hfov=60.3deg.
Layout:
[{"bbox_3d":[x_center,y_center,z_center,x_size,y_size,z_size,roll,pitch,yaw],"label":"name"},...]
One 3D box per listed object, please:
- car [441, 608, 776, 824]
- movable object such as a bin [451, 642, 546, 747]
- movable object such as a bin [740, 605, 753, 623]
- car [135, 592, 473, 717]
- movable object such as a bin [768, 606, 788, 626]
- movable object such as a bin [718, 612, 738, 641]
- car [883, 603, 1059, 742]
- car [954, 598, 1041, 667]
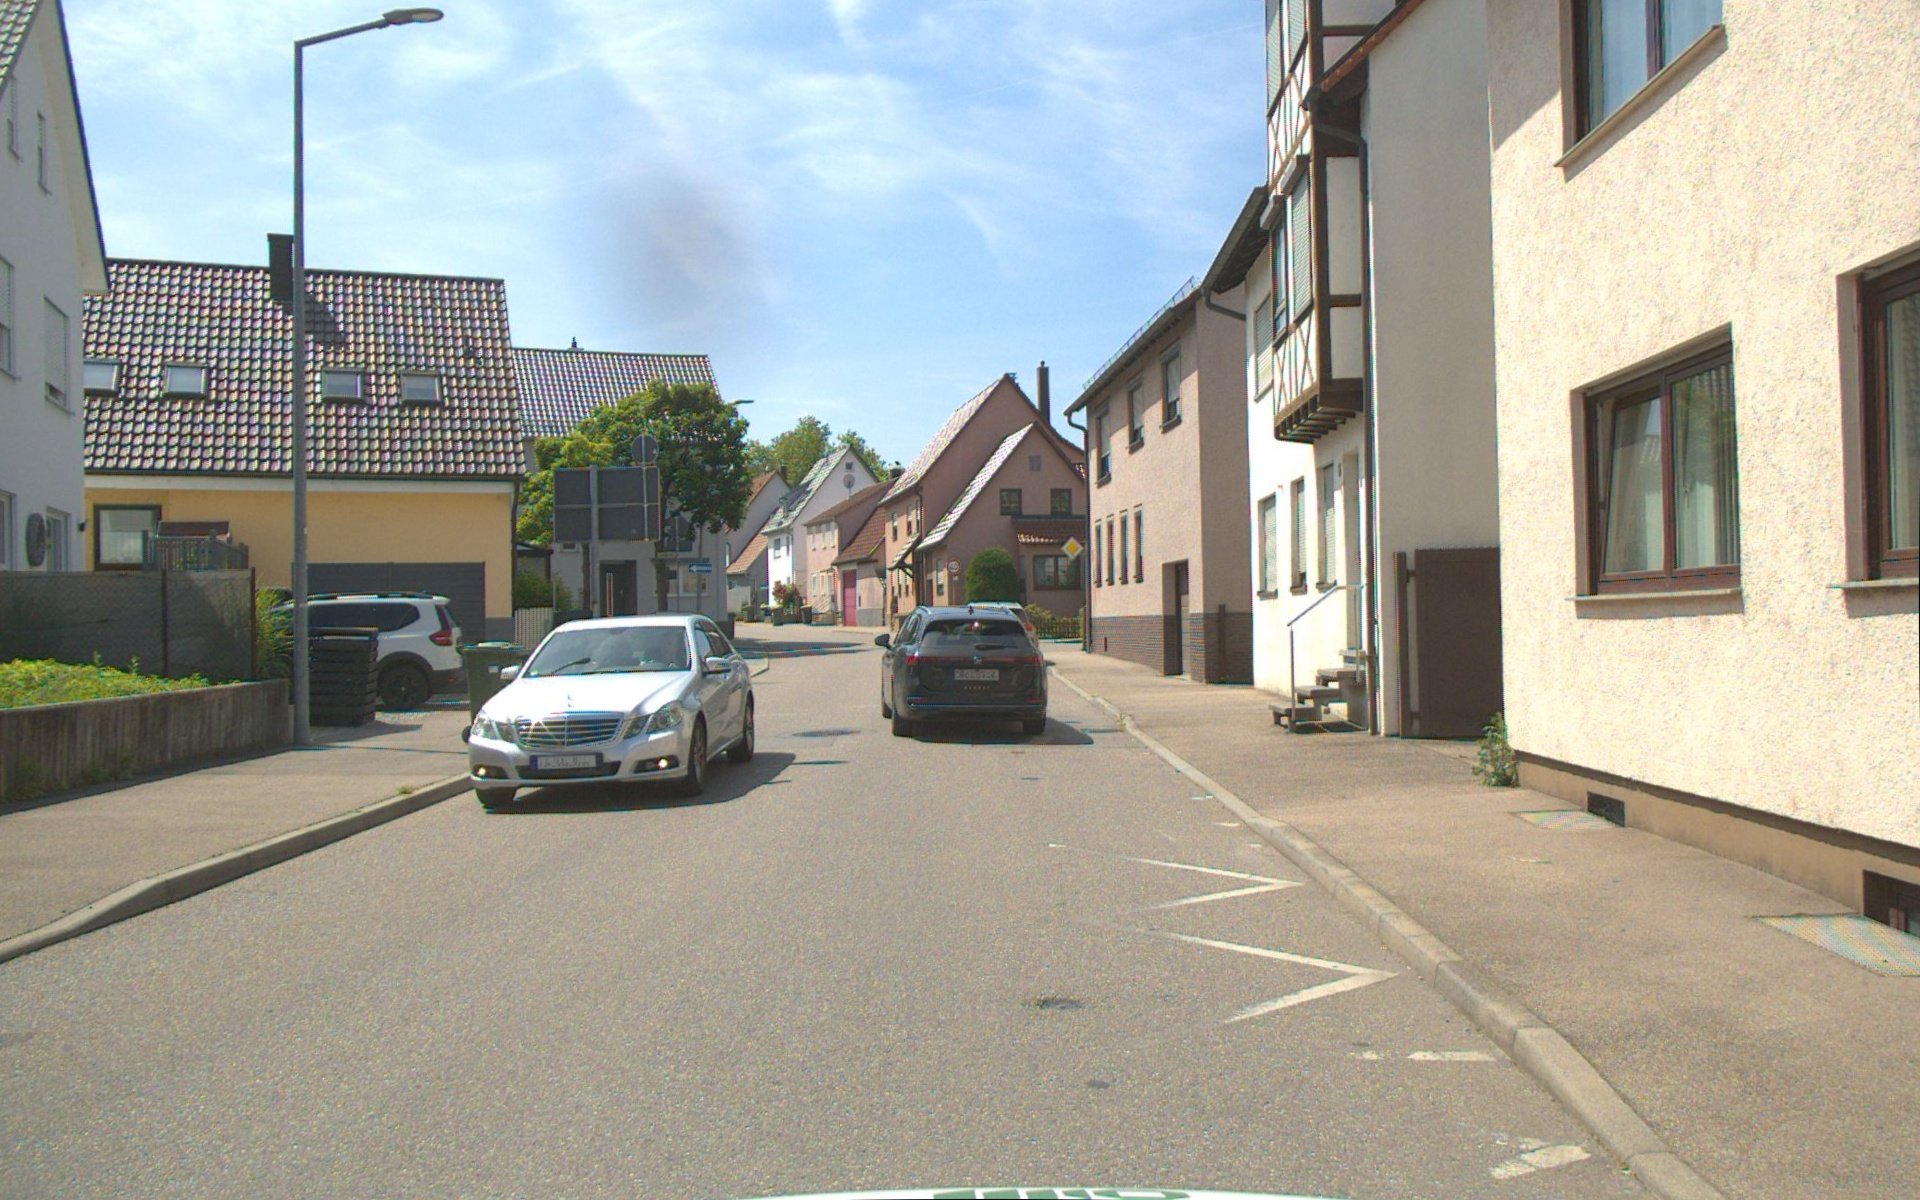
[{"bbox_3d":[-2.919,0.892,14.785,1.915,1.512,4.459,-3,0,1],"label":"car"},{"bbox_3d":[-5.088,1.031,18.286,0.809,1.096,0.818,0,0,0],"label":"movable object such as a bin"},{"bbox_3d":[-13.682,0.892,105.971,0.669,1.175,0.814,0,-1,-23],"label":"movable object such as a bin"},{"bbox_3d":[-9.514,0.765,24.349,4.325,1.651,1.993,-1,-1,-13],"label":"car"},{"bbox_3d":[-10.695,0.938,97.147,0.864,1.093,0.866,-6,2,-23],"label":"movable object such as a bin"},{"bbox_3d":[-9.015,1.032,64.265,0.740,1.079,0.677,-1,0,-13],"label":"movable object such as a bin"},{"bbox_3d":[0.009,0.771,19.982,1.805,1.445,4.679,0,0,-4],"label":"car"},{"bbox_3d":[0.788,0.696,37.616,1.749,1.467,4.335,0,0,-2],"label":"car"}]
